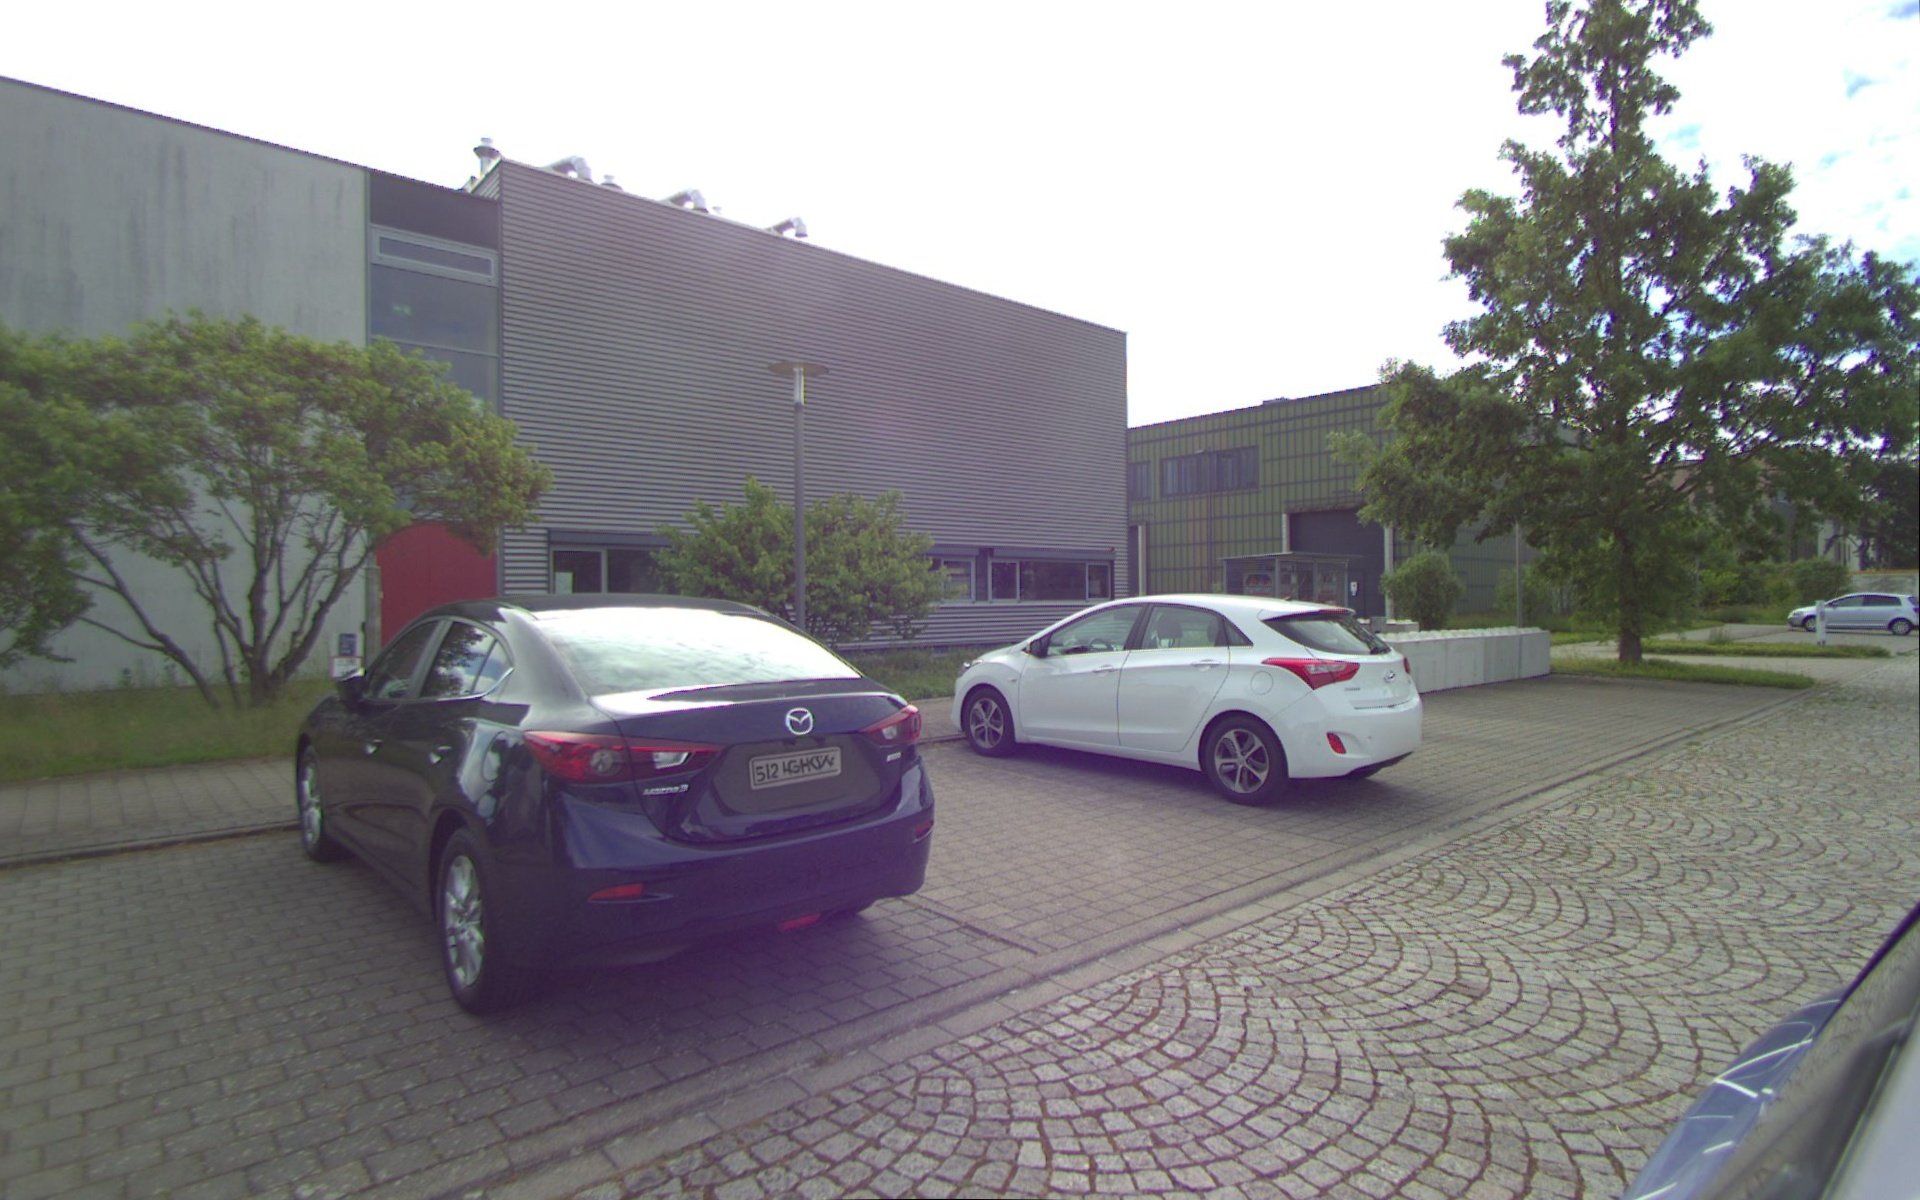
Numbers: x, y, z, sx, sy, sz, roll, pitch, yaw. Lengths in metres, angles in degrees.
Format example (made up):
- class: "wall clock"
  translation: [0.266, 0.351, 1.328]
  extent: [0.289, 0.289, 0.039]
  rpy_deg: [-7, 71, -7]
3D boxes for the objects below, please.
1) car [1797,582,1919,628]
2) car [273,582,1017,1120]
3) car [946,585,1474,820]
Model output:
- class: "car"
  translation: [35.285, 0.168, 39.276]
  extent: [1.907, 1.645, 4.124]
  rpy_deg: [-1, 2, -44]
- class: "car"
  translation: [-1.961, 0.647, 5.081]
  extent: [1.911, 1.465, 4.470]
  rpy_deg: [0, 1, -42]
- class: "car"
  translation: [1.874, 0.633, 8.507]
  extent: [1.850, 1.485, 3.981]
  rpy_deg: [0, 0, -42]
